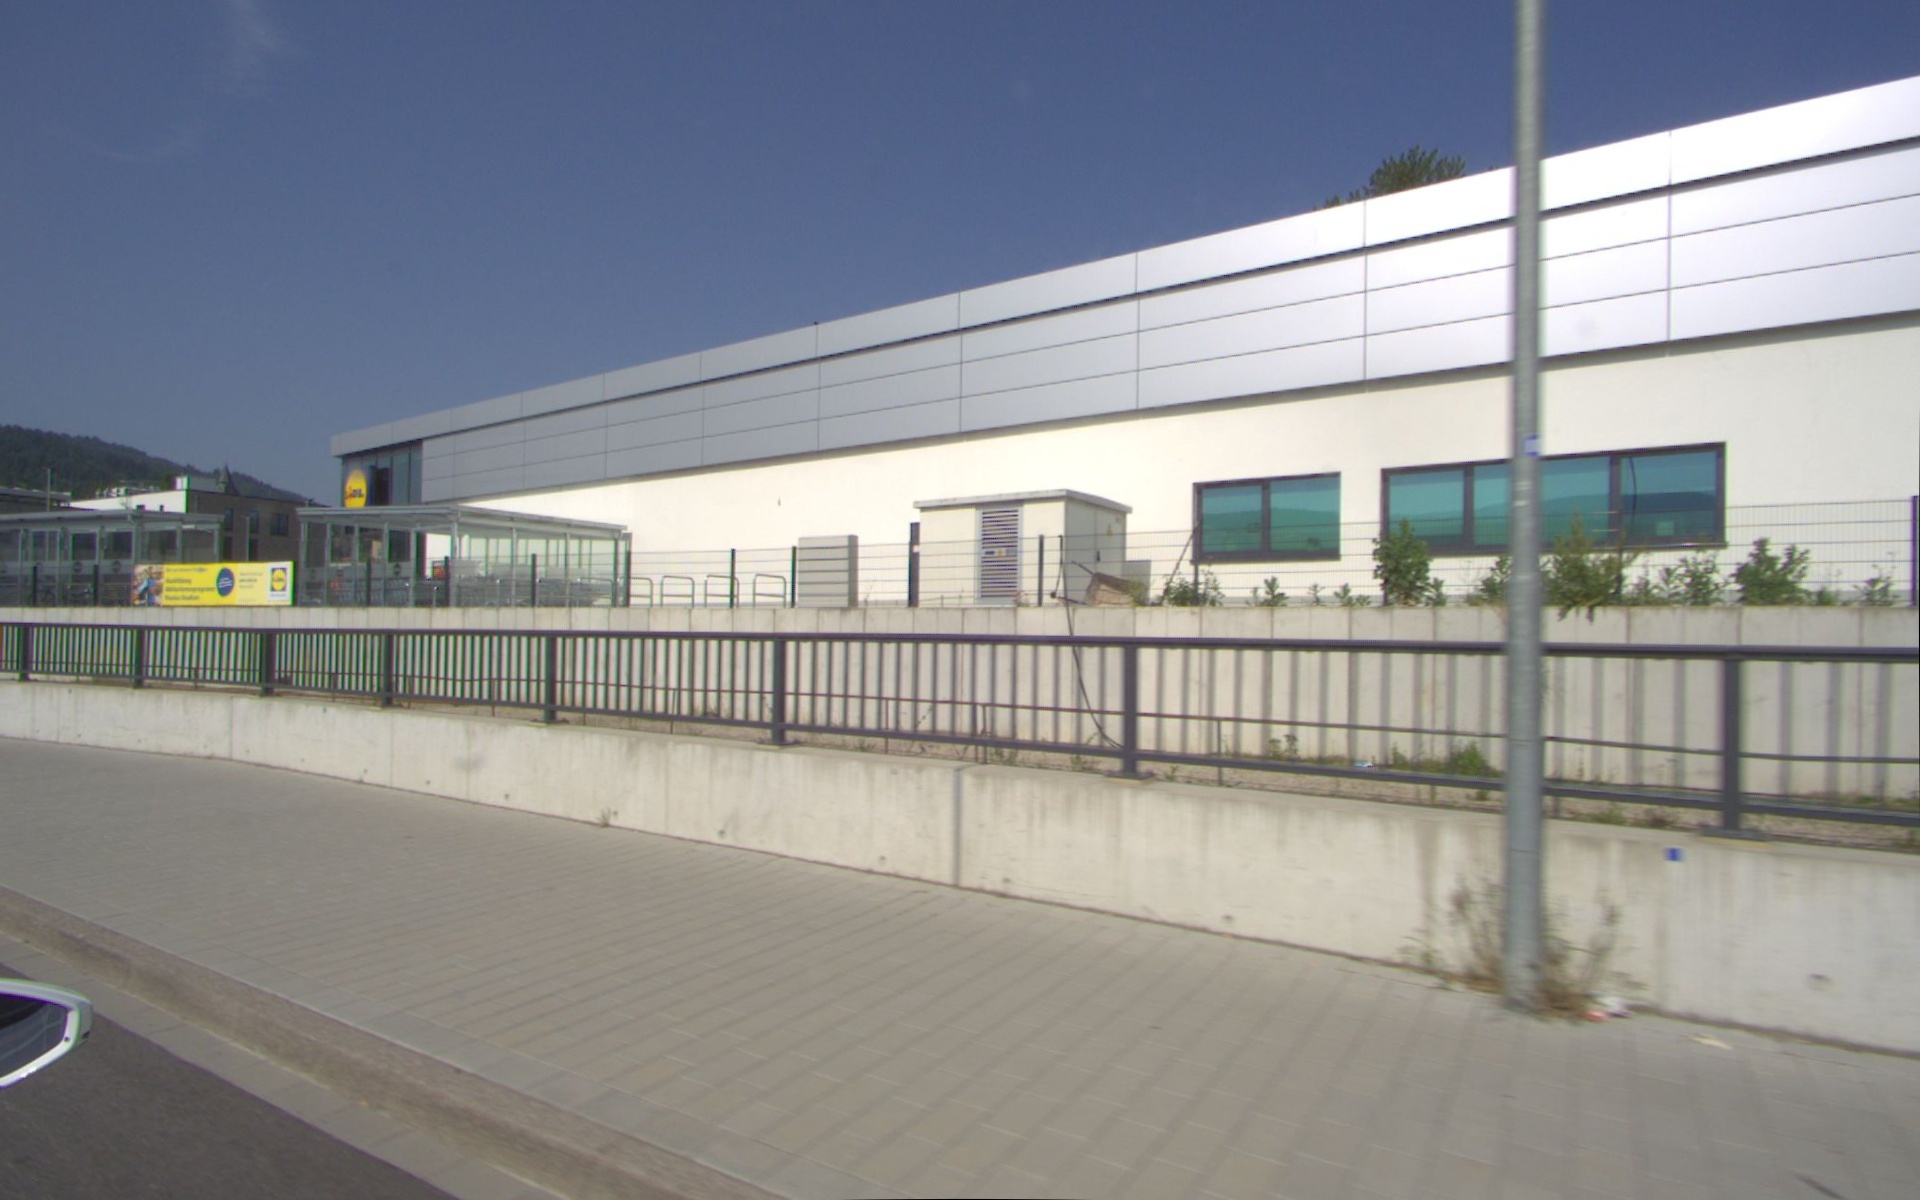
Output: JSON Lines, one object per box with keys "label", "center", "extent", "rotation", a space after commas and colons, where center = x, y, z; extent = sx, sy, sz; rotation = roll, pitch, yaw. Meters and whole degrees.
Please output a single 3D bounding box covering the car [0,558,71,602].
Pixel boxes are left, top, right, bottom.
{"label": "car", "center": [-32.202, -0.704, 33.170], "extent": [1.649, 1.381, 3.817], "rotation": [1, -2, 14]}
